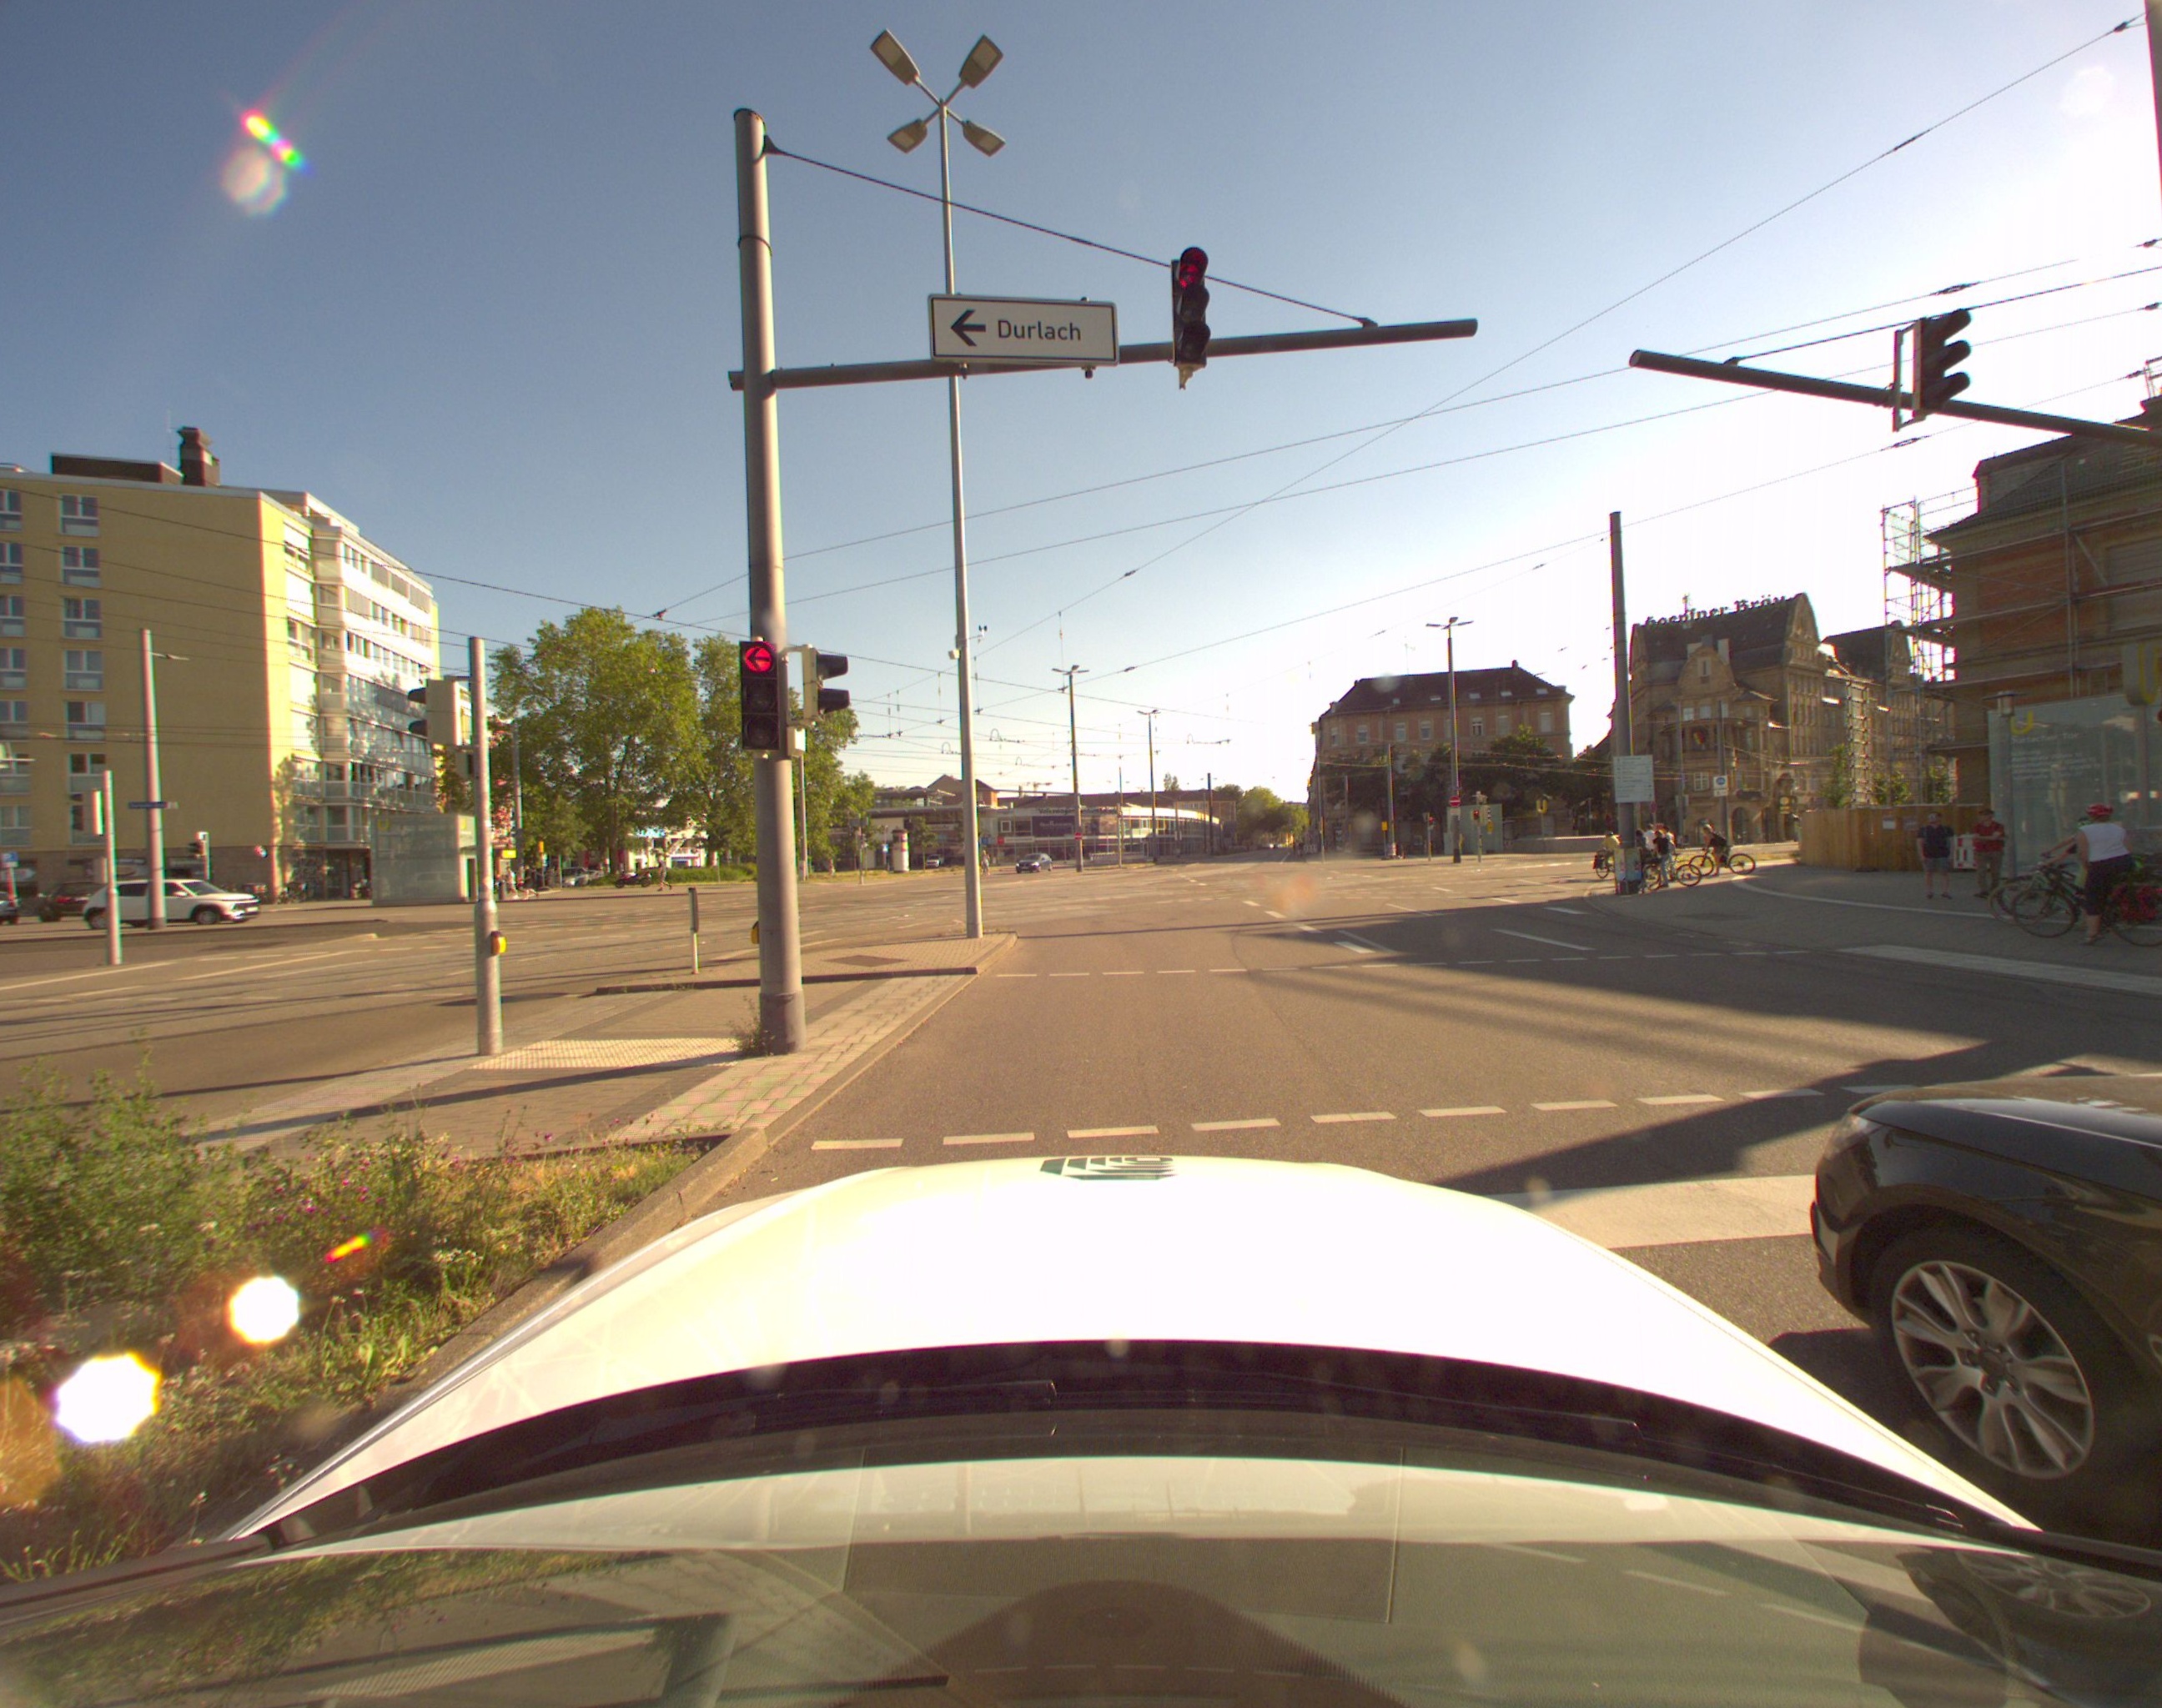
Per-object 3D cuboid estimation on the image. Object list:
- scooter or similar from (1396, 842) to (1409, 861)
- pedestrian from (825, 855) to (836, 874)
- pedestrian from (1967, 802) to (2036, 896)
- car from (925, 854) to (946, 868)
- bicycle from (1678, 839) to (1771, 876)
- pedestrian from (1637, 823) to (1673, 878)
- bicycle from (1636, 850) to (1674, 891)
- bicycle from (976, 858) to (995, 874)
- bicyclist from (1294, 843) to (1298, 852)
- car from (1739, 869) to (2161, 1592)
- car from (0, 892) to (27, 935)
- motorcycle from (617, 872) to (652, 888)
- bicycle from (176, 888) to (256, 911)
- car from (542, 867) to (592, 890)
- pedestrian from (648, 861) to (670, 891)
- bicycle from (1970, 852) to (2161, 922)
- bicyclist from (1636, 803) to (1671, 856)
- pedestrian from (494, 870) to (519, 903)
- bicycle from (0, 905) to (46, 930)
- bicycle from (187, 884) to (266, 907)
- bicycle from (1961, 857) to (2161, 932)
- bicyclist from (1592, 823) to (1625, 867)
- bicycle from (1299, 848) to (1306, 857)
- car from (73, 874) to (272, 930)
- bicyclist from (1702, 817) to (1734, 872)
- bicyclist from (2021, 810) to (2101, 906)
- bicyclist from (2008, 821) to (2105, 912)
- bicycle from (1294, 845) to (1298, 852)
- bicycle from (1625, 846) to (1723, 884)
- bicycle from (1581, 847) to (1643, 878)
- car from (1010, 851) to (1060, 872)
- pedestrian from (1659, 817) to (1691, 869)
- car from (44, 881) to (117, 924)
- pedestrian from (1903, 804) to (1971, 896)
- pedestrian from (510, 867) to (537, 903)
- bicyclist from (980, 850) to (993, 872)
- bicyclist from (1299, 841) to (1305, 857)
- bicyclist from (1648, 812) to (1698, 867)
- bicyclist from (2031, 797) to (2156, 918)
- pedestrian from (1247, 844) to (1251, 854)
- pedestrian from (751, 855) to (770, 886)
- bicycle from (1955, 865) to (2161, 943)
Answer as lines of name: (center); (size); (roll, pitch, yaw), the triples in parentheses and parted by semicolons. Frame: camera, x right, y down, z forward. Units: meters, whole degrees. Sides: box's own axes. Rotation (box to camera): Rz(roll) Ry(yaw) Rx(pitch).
scooter or similar: (24.722, -0.181, 62.678); (0.780, 1.376, 1.916); (-1, -1, 16)
pedestrian: (-22.635, 0.952, 73.604); (0.854, 1.694, 0.497); (0, -1, -1)
pedestrian: (18.118, -0.092, 16.035); (0.672, 1.807, 0.680); (0, -1, -19)
car: (-17.844, 0.840, 99.983); (1.988, 1.750, 3.997); (0, -1, -2)
bicycle: (21.064, 0.137, 26.717); (2.290, 1.049, 0.539); (-5, -1, 36)
pedestrian: (21.287, -0.121, 30.216); (0.730, 2.014, 0.760); (0, -1, -6)
bicycle: (16.043, 0.430, 22.810); (0.692, 1.049, 2.335); (0, 1, 31)
bicycle: (-7.046, 0.866, 59.944); (0.607, 1.189, 1.878); (-1, -1, 19)
bicyclist: (28.827, -0.846, 109.248); (0.405, 1.116, 0.400); (-1, -1, 13)
car: (2.903, 0.739, 0.645); (1.617, 1.404, 4.001); (0, 0, 2)
car: (-46.964, 2.543, 34.866); (3.948, 1.706, 2.013); (-1, -1, 35)
motorcycle: (-27.267, 1.580, 49.746); (1.779, 0.914, 0.675); (0, -1, -19)
bicycle: (-46.233, 2.413, 43.563); (3.041, 1.151, 0.637); (0, -1, -16)
car: (-37.311, 1.722, 59.227); (1.772, 1.567, 3.983); (0, -1, -12)
pedestrian: (-24.161, 1.243, 46.652); (0.790, 1.706, 0.760); (-1, -1, 9)
bicycle: (15.447, 0.485, 12.703); (0.661, 0.963, 2.018); (-4, 1, -25)
bicyclist: (16.050, -0.660, 22.846); (0.701, 1.439, 0.953); (-1, -1, 30)
pedestrian: (-30.533, 1.726, 43.281); (0.790, 1.706, 0.760); (-1, -1, 9)
bicycle: (-54.563, 3.223, 41.132); (3.041, 1.151, 0.637); (0, -1, -16)
bicycle: (-46.411, 2.238, 44.270); (3.041, 1.151, 0.637); (0, -1, -16)
bicycle: (14.450, 0.551, 11.998); (0.657, 0.963, 2.033); (-4, 0, -3)
bicyclist: (19.195, -0.313, 29.662); (0.514, 1.557, 0.945); (0, -1, -7)
bicycle: (23.702, -0.108, 87.309); (0.652, 0.952, 1.607); (-1, -1, 17)
car: (-29.861, 1.532, 26.938); (3.998, 1.662, 1.775); (0, -1, -19)
bicyclist: (20.951, -0.318, 26.807); (0.785, 1.779, 0.526); (-1, -1, 37)
bicyclist: (15.390, 0.067, 12.798); (0.619, 1.454, 0.667); (0, -1, -27)
bicyclist: (14.433, 0.181, 12.067); (0.614, 1.315, 0.673); (0, -1, -3)
bicycle: (28.858, -0.733, 109.359); (0.407, 0.941, 1.852); (-1, -1, 15)
bicycle: (17.229, 0.307, 23.747); (0.701, 1.049, 2.303); (0, -1, -22)
bicycle: (19.212, 0.291, 29.530); (0.533, 1.049, 2.315); (0, 1, -6)
car: (-3.435, 0.563, 61.919); (1.975, 1.585, 4.024); (-1, -1, 29)
pedestrian: (22.102, -0.396, 30.320); (0.646, 1.922, 0.689); (0, -1, -6)
car: (-44.254, 2.105, 36.002); (3.948, 1.706, 1.730); (-1, -1, 35)
pedestrian: (17.341, -0.083, 16.513); (0.672, 1.807, 0.680); (-3, 0, -19)
pedestrian: (-26.931, 1.496, 39.344); (0.790, 1.706, 0.760); (-1, -1, 9)
bicyclist: (-6.986, 0.526, 60.126); (0.593, 1.615, 0.827); (-1, -1, 20)
bicyclist: (23.677, -0.490, 87.206); (0.516, 1.700, 0.517); (0, -1, 4)
bicyclist: (17.233, -0.410, 23.730); (0.711, 1.557, 0.940); (0, -1, -22)
bicyclist: (13.489, 0.049, 10.871); (0.664, 1.553, 0.794); (0, -1, -3)
pedestrian: (35.773, -1.043, 173.820); (0.713, 2.014, 0.758); (0, -1, 3)
pedestrian: (-19.941, 1.029, 50.634); (0.790, 1.886, 0.760); (-1, -1, 9)
bicycle: (13.454, 0.638, 11.180); (0.656, 0.963, 2.033); (0, -1, -3)
